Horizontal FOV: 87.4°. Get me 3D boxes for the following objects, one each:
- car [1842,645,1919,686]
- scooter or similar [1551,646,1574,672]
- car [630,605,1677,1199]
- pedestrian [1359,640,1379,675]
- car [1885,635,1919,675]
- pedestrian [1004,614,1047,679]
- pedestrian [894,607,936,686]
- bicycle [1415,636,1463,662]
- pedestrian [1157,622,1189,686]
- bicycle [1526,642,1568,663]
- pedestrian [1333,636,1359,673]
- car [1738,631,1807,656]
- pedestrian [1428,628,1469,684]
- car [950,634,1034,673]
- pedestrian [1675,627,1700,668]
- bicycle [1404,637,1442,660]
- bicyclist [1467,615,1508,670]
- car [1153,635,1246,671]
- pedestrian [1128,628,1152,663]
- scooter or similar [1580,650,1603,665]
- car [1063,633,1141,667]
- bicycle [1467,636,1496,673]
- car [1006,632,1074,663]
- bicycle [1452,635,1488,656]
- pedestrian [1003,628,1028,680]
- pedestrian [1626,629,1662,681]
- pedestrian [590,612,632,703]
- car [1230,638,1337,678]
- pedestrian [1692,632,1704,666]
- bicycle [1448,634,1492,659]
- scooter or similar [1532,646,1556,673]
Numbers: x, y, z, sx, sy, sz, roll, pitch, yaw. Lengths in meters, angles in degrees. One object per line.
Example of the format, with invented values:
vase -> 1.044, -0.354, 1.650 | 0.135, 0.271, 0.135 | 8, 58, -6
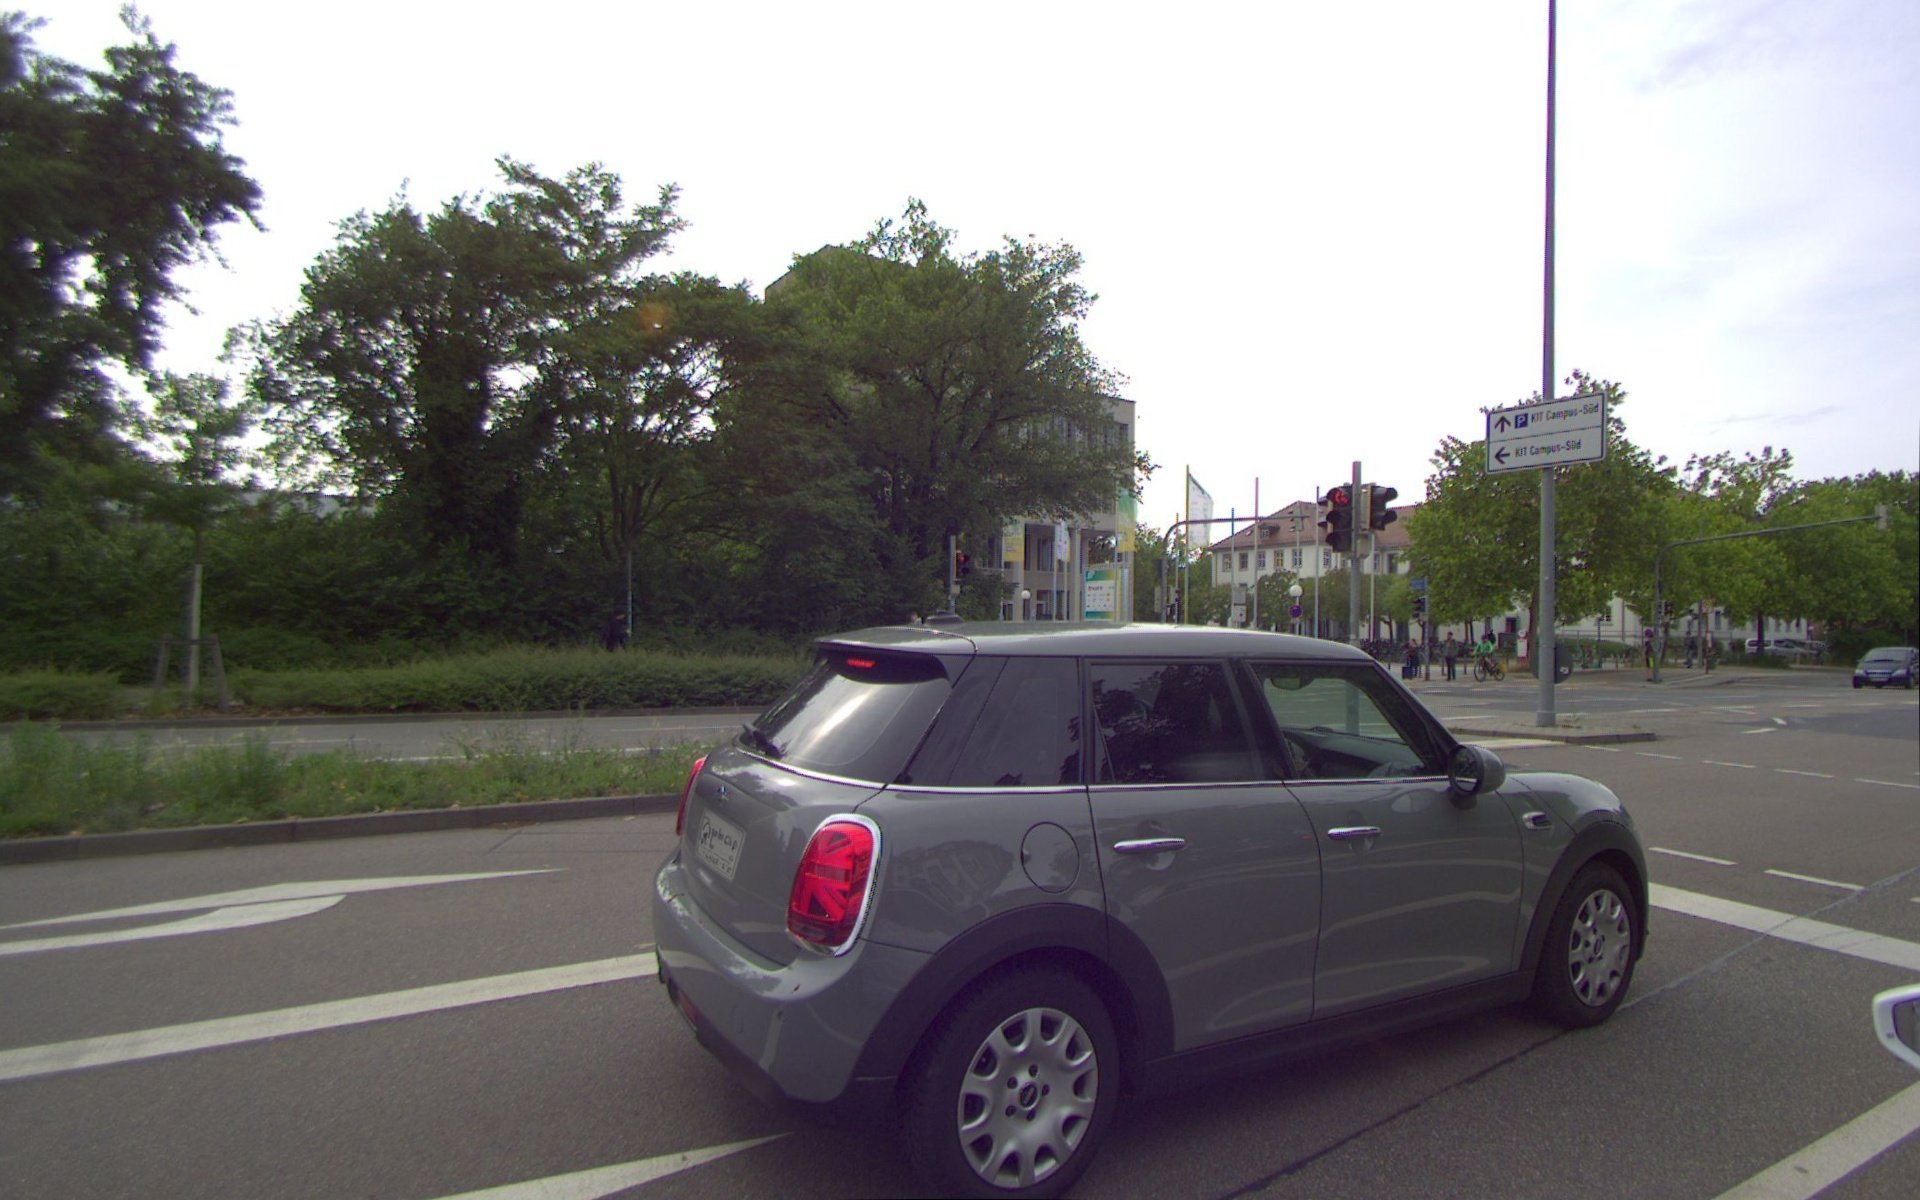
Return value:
car -> 35.759, 2.482, 38.552 | 3.654, 1.483, 1.844 | 2, -2, -30
scooter or similar -> 26.751, 2.610, 44.587 | 1.306, 1.155, 0.358 | 2, -2, -34
car -> 0.838, 0.747, 3.716 | 3.662, 1.335, 1.613 | 2, -2, -30
pedestrian -> 17.662, 2.493, 43.385 | 0.687, 1.447, 0.999 | 2, 0, 28
car -> 40.872, 2.299, 42.016 | 3.949, 1.641, 1.986 | 2, -2, -28
pedestrian -> 2.163, 1.489, 32.843 | 1.022, 2.040, 1.099 | 2, 0, 25
pedestrian -> -1.199, 1.226, 26.685 | 0.811, 2.040, 0.904 | 1, -2, -26
bicycle -> 30.514, 3.104, 63.980 | 0.916, 1.579, 2.633 | 2, -2, -43
pedestrian -> 7.122, 1.787, 33.597 | 0.844, 2.086, 0.662 | 1, -1, -34
bicycle -> 33.668, 2.990, 57.664 | 2.005, 1.168, 0.718 | -1, -2, 39
pedestrian -> 16.910, 2.370, 44.005 | 0.812, 1.533, 0.971 | 2, 0, 37
car -> 58.691, 3.150, 72.559 | 1.636, 1.623, 3.561 | 2, 0, -35
pedestrian -> 18.561, 2.113, 38.132 | 1.165, 2.040, 1.138 | 2, 0, 37
car -> 1.334, 2.250, 42.695 | 1.844, 1.469, 3.562 | 2, -1, -34
pedestrian -> 36.702, 2.384, 50.666 | 0.919, 2.040, 0.795 | 2, 0, -40
bicycle -> 32.008, 3.330, 69.482 | 0.907, 1.579, 2.658 | 1, -2, -16
bicyclist -> 20.187, 1.603, 38.449 | 1.165, 2.040, 1.277 | 2, 0, 37
car -> 11.447, 2.502, 48.193 | 1.982, 1.491, 3.958 | 2, 0, -37
pedestrian -> 10.881, 2.746, 60.637 | 1.007, 2.040, 0.996 | 2, -2, -34
scooter or similar -> 31.000, 2.811, 49.325 | 1.274, 0.703, 0.404 | 2, 0, -31
car -> 7.571, 2.650, 53.996 | 1.980, 1.601, 3.961 | 2, 0, -35
bicycle -> 20.096, 2.070, 38.674 | 0.597, 1.351, 2.303 | 2, 0, 37
car -> 4.600, 2.720, 58.218 | 1.835, 1.706, 3.961 | 2, -2, -35
bicycle -> 38.756, 3.439, 76.404 | 0.907, 1.579, 2.658 | 1, -2, -16
pedestrian -> 1.763, 1.698, 31.913 | 0.598, 1.628, 0.497 | 2, -1, -42
pedestrian -> 27.610, 2.201, 40.539 | 1.000, 2.040, 0.888 | 2, -2, -36
pedestrian -> -6.826, 1.113, 19.637 | 0.645, 1.717, 0.586 | 2, 0, -31
car -> 14.191, 2.531, 44.287 | 1.982, 1.491, 4.111 | 2, 0, -37
pedestrian -> 38.619, 2.573, 52.556 | 0.430, 1.762, 0.415 | 2, 0, -40
bicycle -> 33.091, 2.987, 65.180 | 0.916, 1.579, 2.421 | 2, -2, -44
scooter or similar -> 25.413, 2.565, 43.704 | 1.306, 1.155, 0.358 | 2, -2, -34
